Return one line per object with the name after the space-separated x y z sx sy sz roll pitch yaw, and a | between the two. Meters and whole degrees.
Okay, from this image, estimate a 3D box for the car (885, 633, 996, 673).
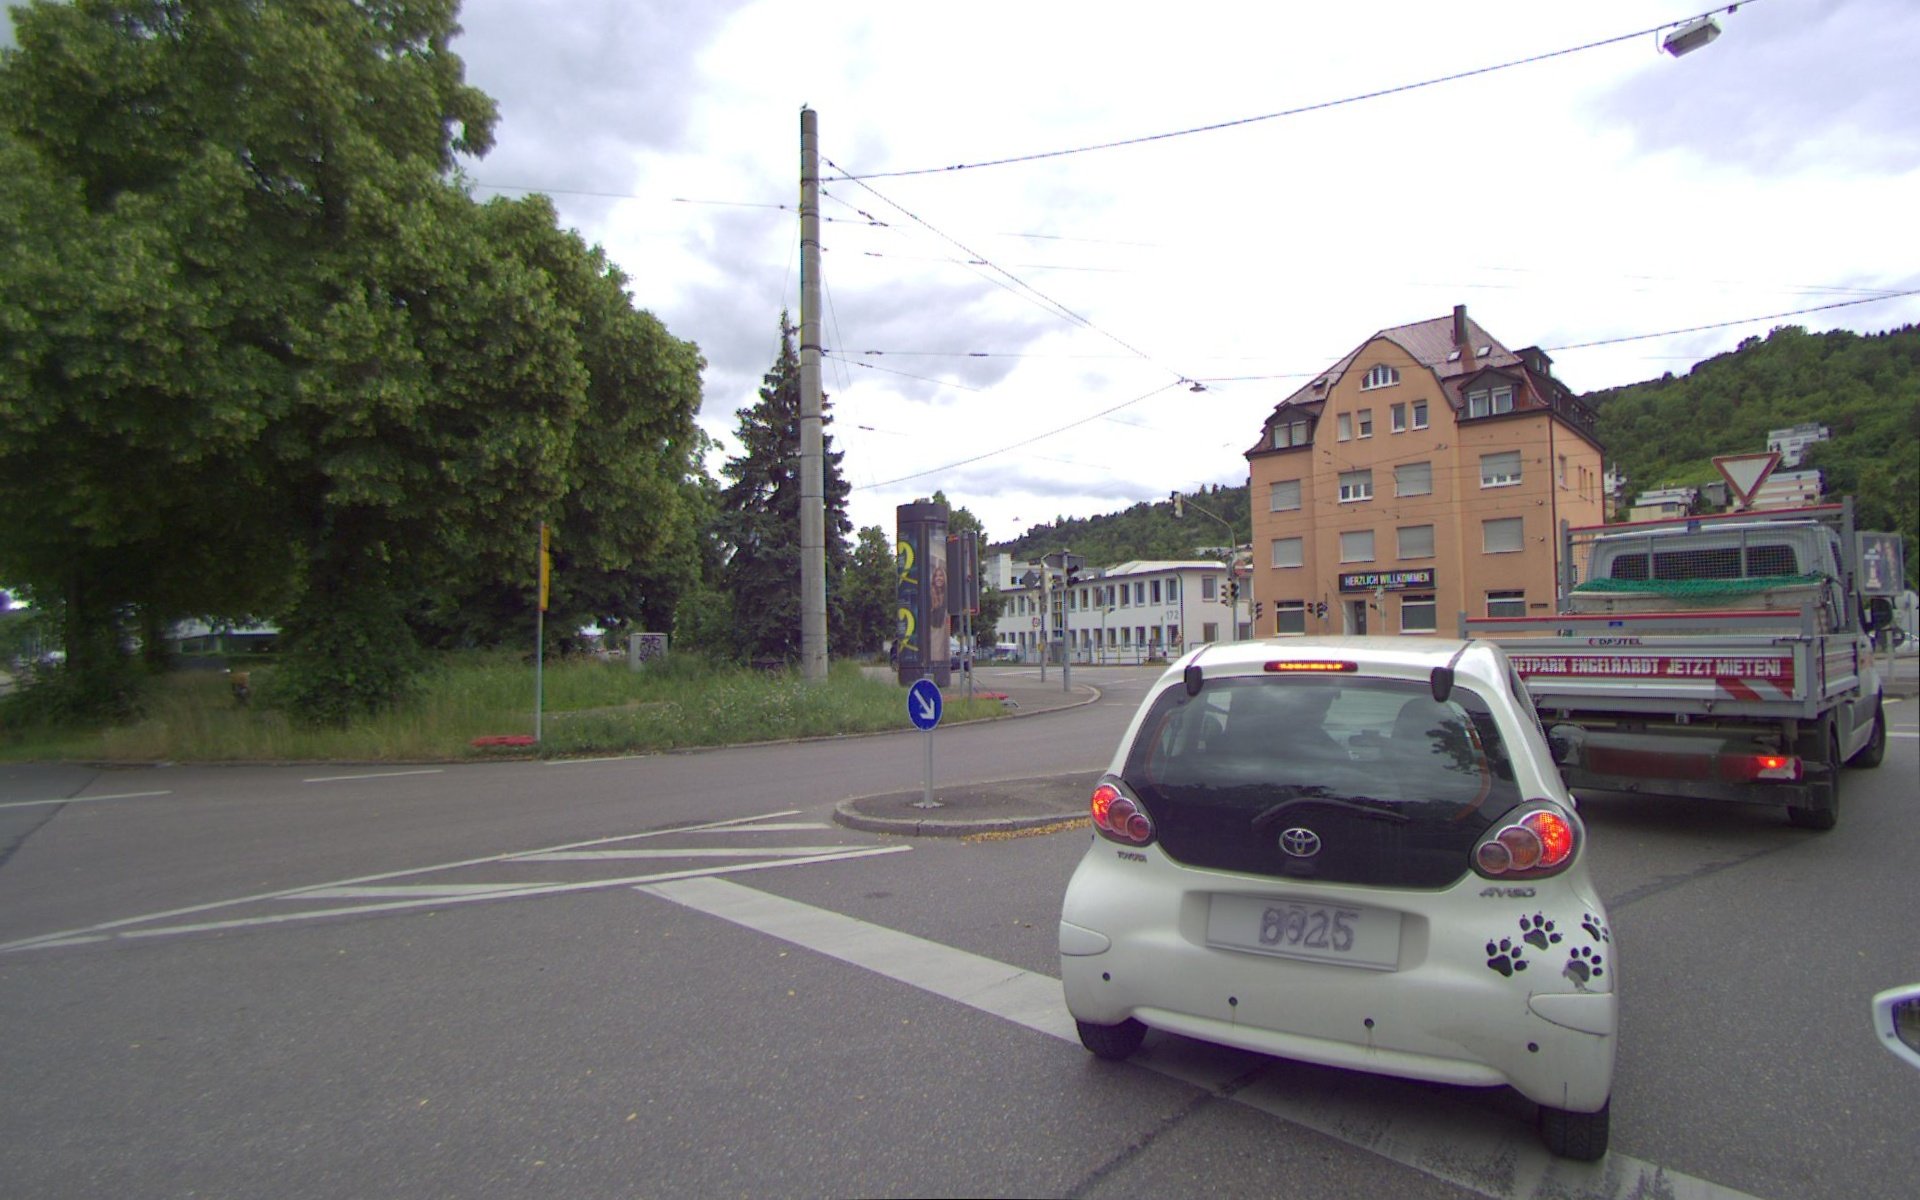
-0.790 2.011 37.880 1.790 1.385 4.422 0 -3 -40 | car

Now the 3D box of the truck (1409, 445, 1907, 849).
6.524 0.376 8.984 5.986 2.429 2.399 1 -4 -43 | truck

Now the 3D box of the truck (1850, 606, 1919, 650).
55.253 1.591 58.246 5.112 2.424 1.995 -3 -3 33 | truck

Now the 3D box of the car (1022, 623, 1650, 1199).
1.739 0.870 4.318 1.615 1.451 3.426 -3 -3 28 | car

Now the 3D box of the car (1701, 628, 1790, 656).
47.755 2.573 61.113 4.153 1.553 1.768 -3 -3 39 | car

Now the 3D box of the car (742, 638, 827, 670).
-8.044 2.473 45.742 1.791 1.385 4.421 0 -3 -41 | car

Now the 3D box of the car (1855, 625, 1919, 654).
52.928 2.207 56.157 1.764 1.553 4.162 1 -3 -44 | car
